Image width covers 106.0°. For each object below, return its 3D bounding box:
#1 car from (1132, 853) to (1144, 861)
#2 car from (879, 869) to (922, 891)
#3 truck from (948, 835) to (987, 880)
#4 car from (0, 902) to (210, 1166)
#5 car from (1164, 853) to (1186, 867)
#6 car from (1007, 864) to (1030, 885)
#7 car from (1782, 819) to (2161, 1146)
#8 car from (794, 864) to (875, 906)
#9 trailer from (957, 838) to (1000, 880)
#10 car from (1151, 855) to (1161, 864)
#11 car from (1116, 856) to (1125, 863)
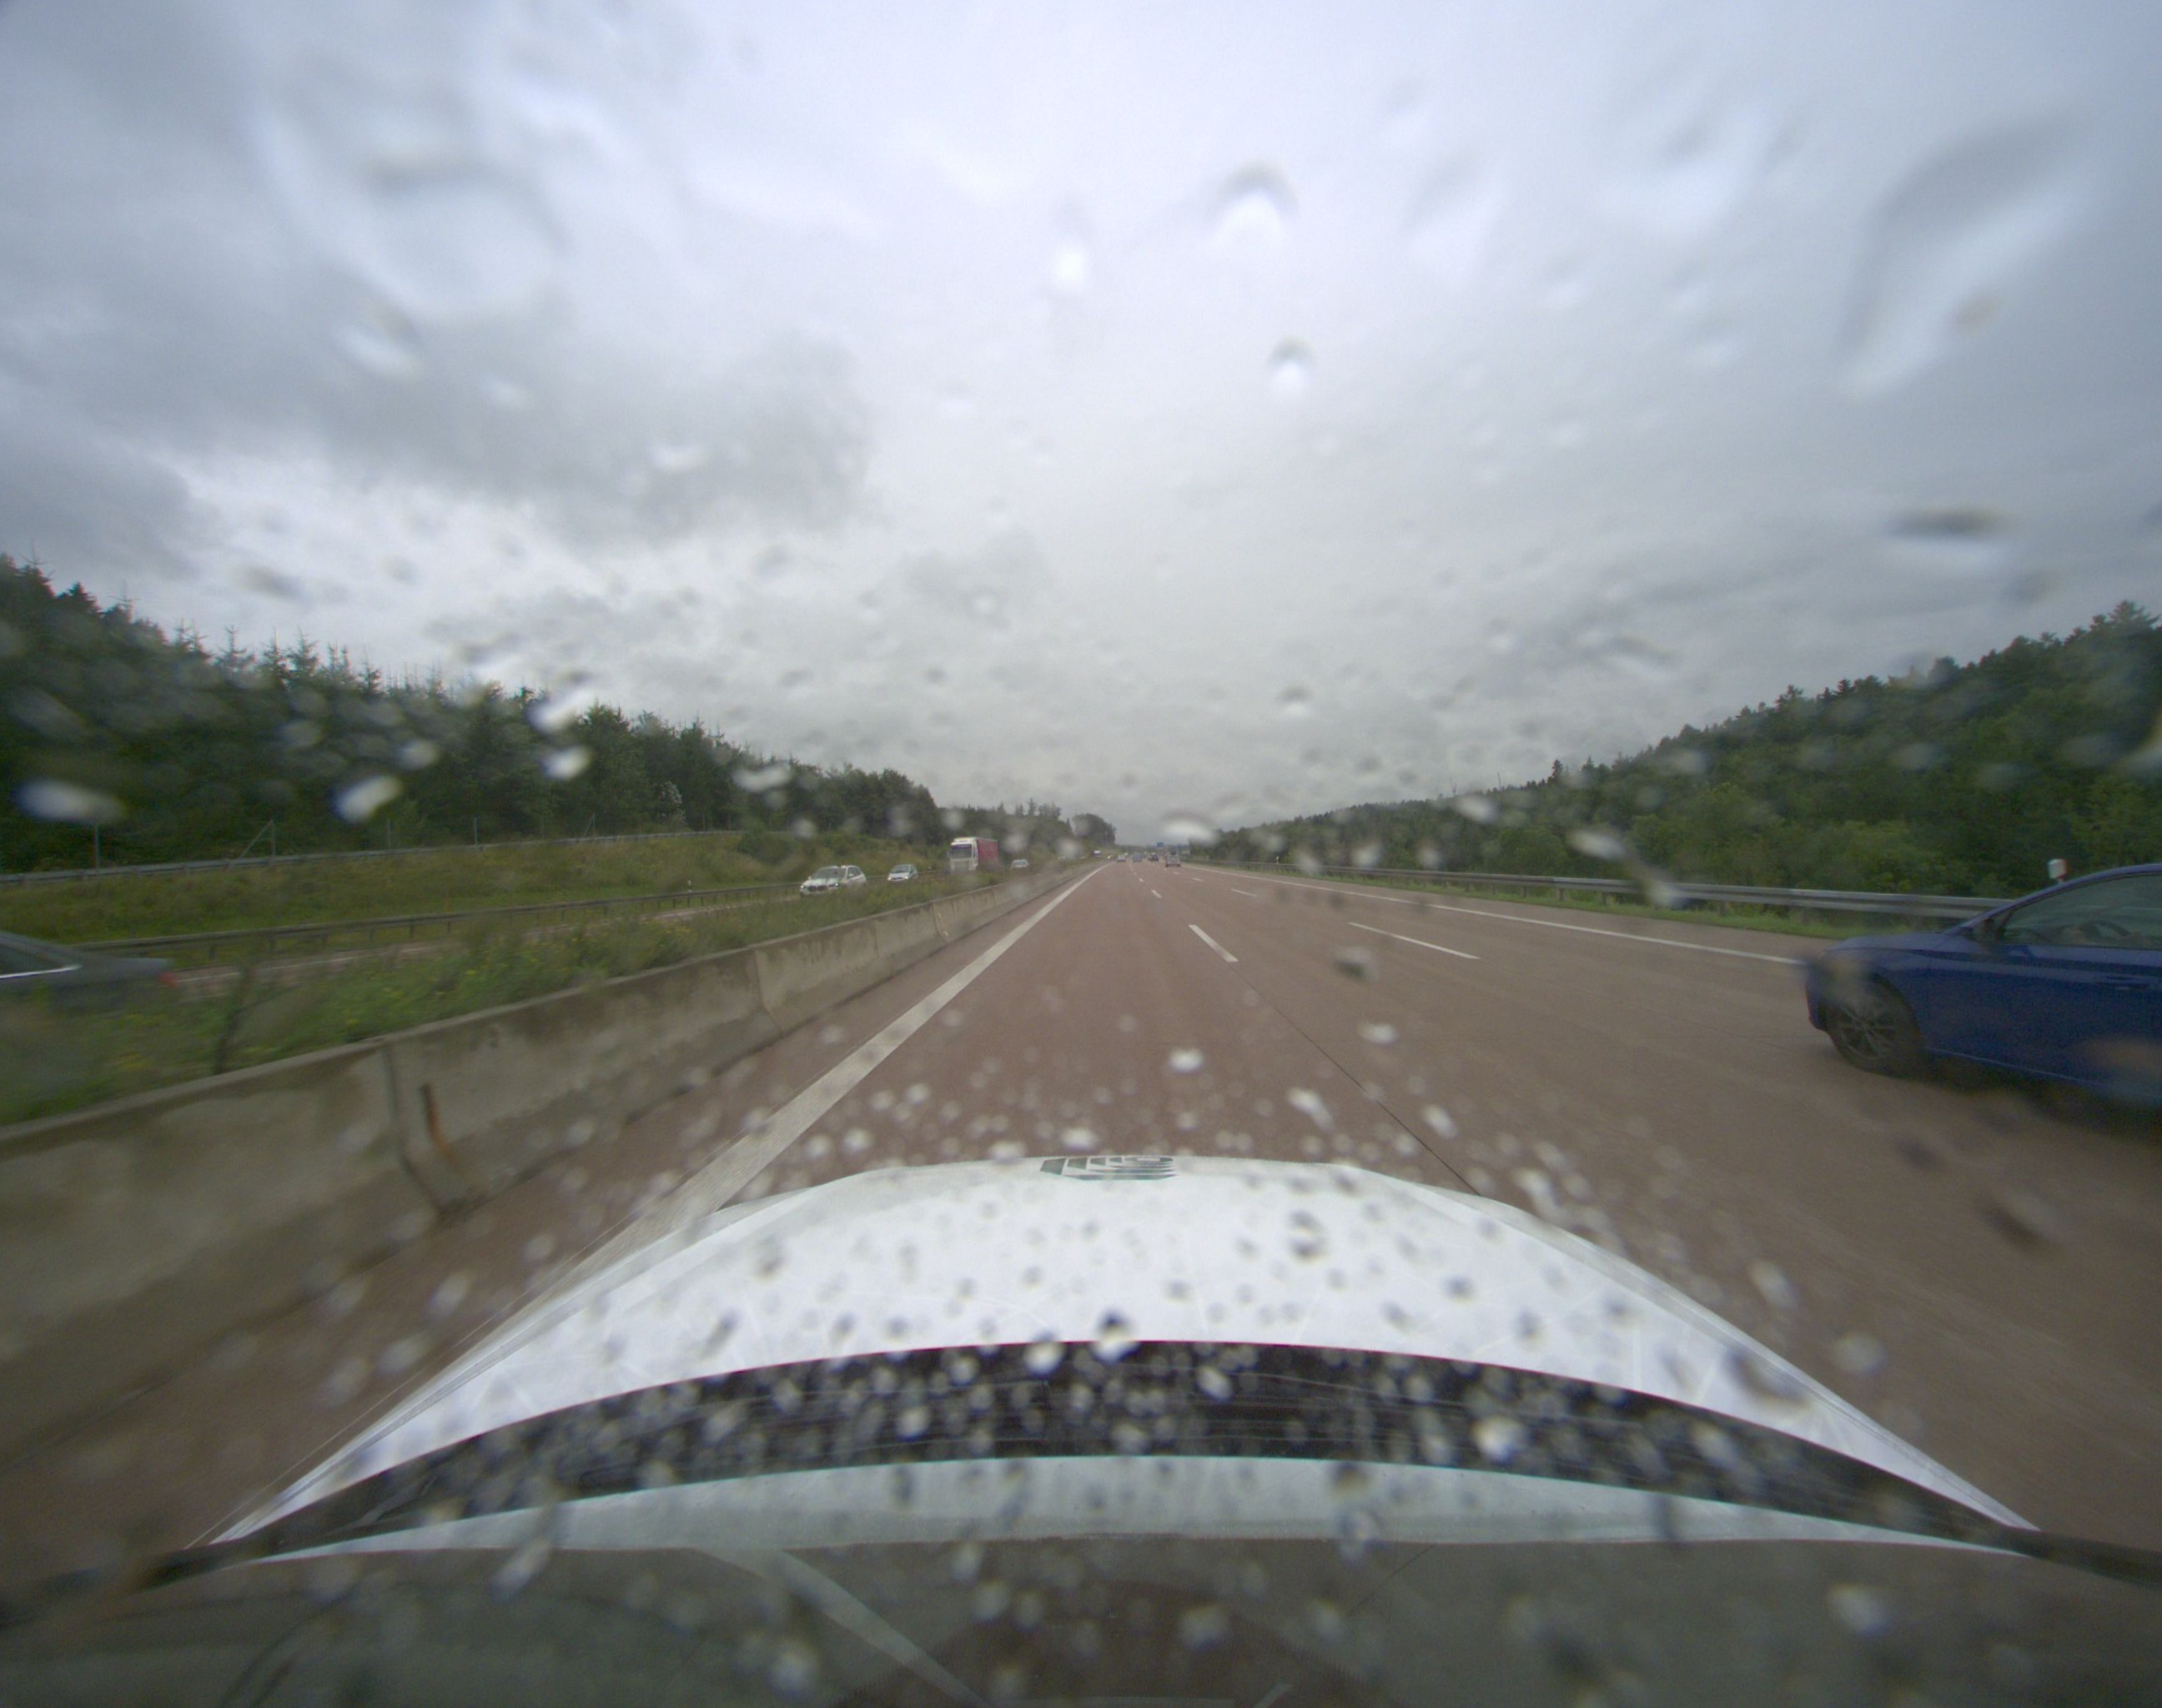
[{"bbox_3d":[12.566,0.682,180.716,2.315,1.750,4.875,0,-1,0],"label":"car"},{"bbox_3d":[-13.399,1.907,60.612,1.986,1.575,4.526,-2,-1,2],"label":"car"},{"bbox_3d":[-11.776,0.438,85.047,2.939,4.478,6.795,0,-1,2],"label":"truck"},{"bbox_3d":[-7.907,1.187,4.304,1.663,1.666,4.478,0,-1,2],"label":"car"},{"bbox_3d":[12.169,0.793,105.420,2.315,1.750,4.875,0,-1,0],"label":"car"},{"bbox_3d":[-5.491,1.838,71.955,1.697,1.785,4.413,0,-1,0],"label":"car"},{"bbox_3d":[6.050,0.615,3.973,1.764,1.564,4.148,0,-1,2],"label":"car"},{"bbox_3d":[-10.640,1.314,35.546,1.857,1.666,4.712,0,-1,3],"label":"car"},{"bbox_3d":[-11.513,0.640,92.350,2.929,4.489,11.780,0,-1,2],"label":"trailer"},{"bbox_3d":[17.519,1.248,189.796,1.987,2.014,3.998,0,-1,-1],"label":"car"},{"bbox_3d":[8.762,1.266,180.872,1.866,1.444,4.880,0,-1,3],"label":"car"}]
